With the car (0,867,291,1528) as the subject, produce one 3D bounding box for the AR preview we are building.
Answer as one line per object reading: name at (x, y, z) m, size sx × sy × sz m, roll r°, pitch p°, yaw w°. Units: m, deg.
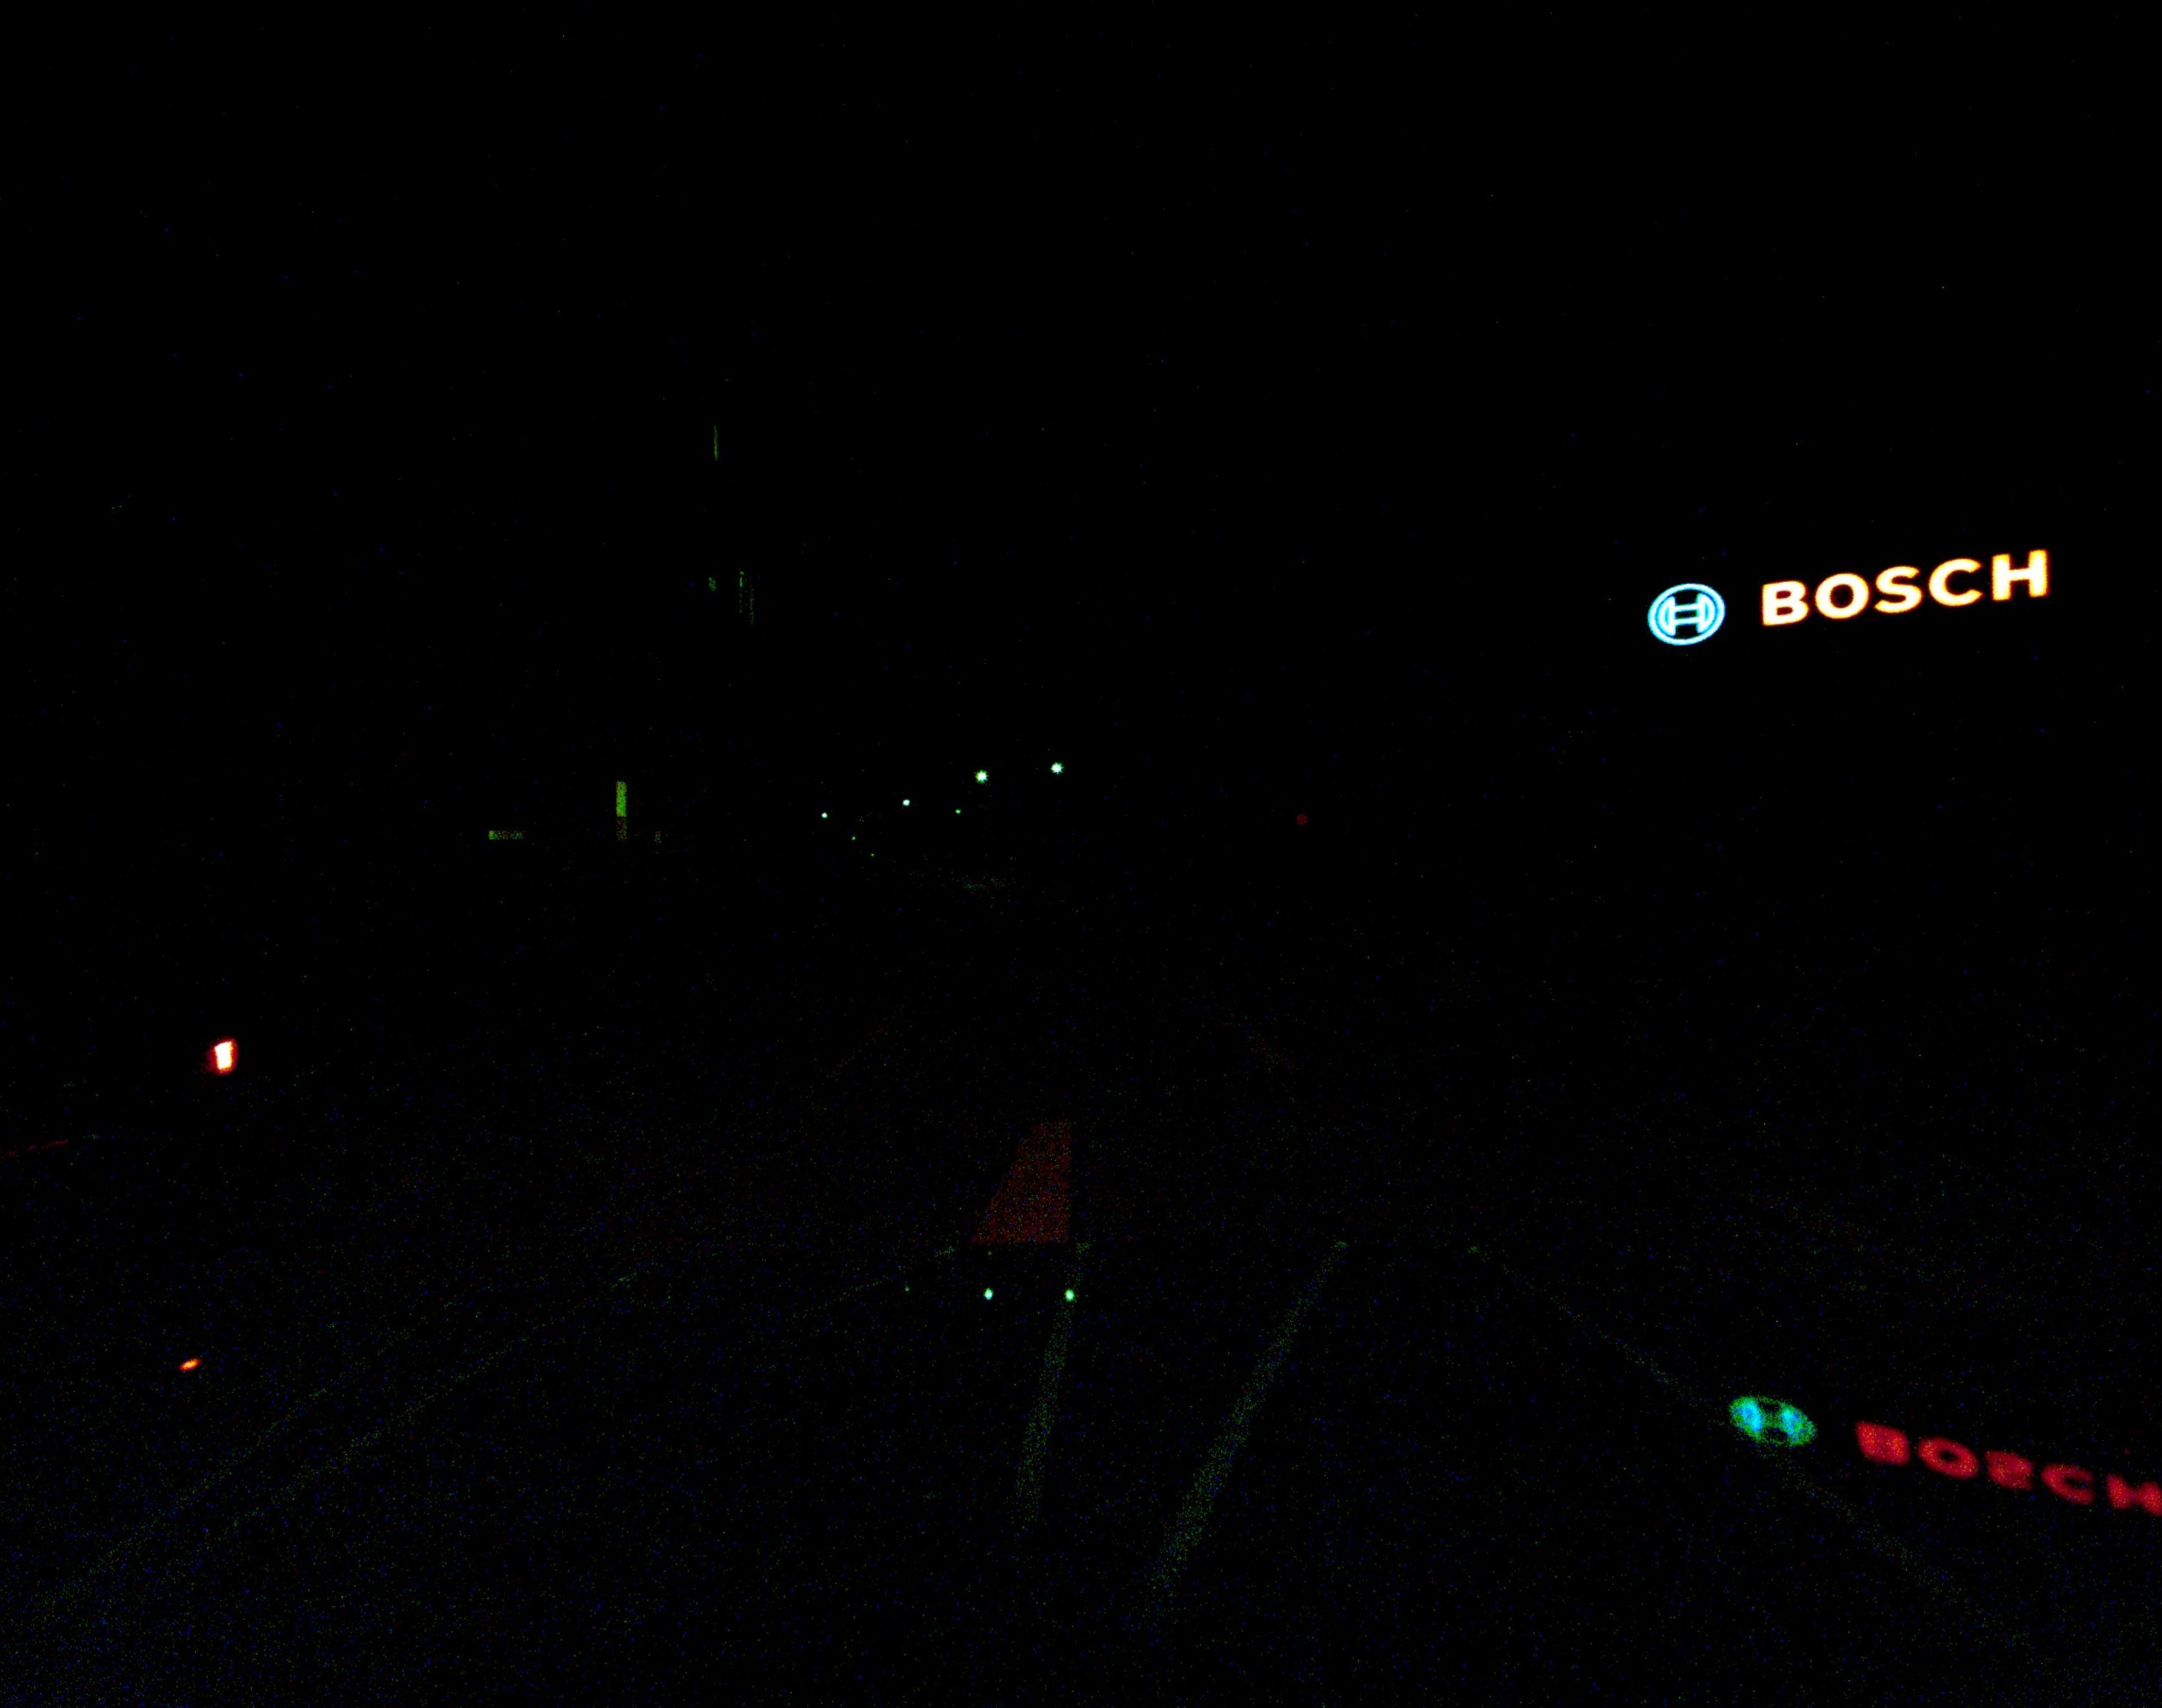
car at (-3.474, 0.901, 0.410) m, size 1.674 × 1.601 × 4.228 m, roll -1°, pitch 1°, yaw -1°
